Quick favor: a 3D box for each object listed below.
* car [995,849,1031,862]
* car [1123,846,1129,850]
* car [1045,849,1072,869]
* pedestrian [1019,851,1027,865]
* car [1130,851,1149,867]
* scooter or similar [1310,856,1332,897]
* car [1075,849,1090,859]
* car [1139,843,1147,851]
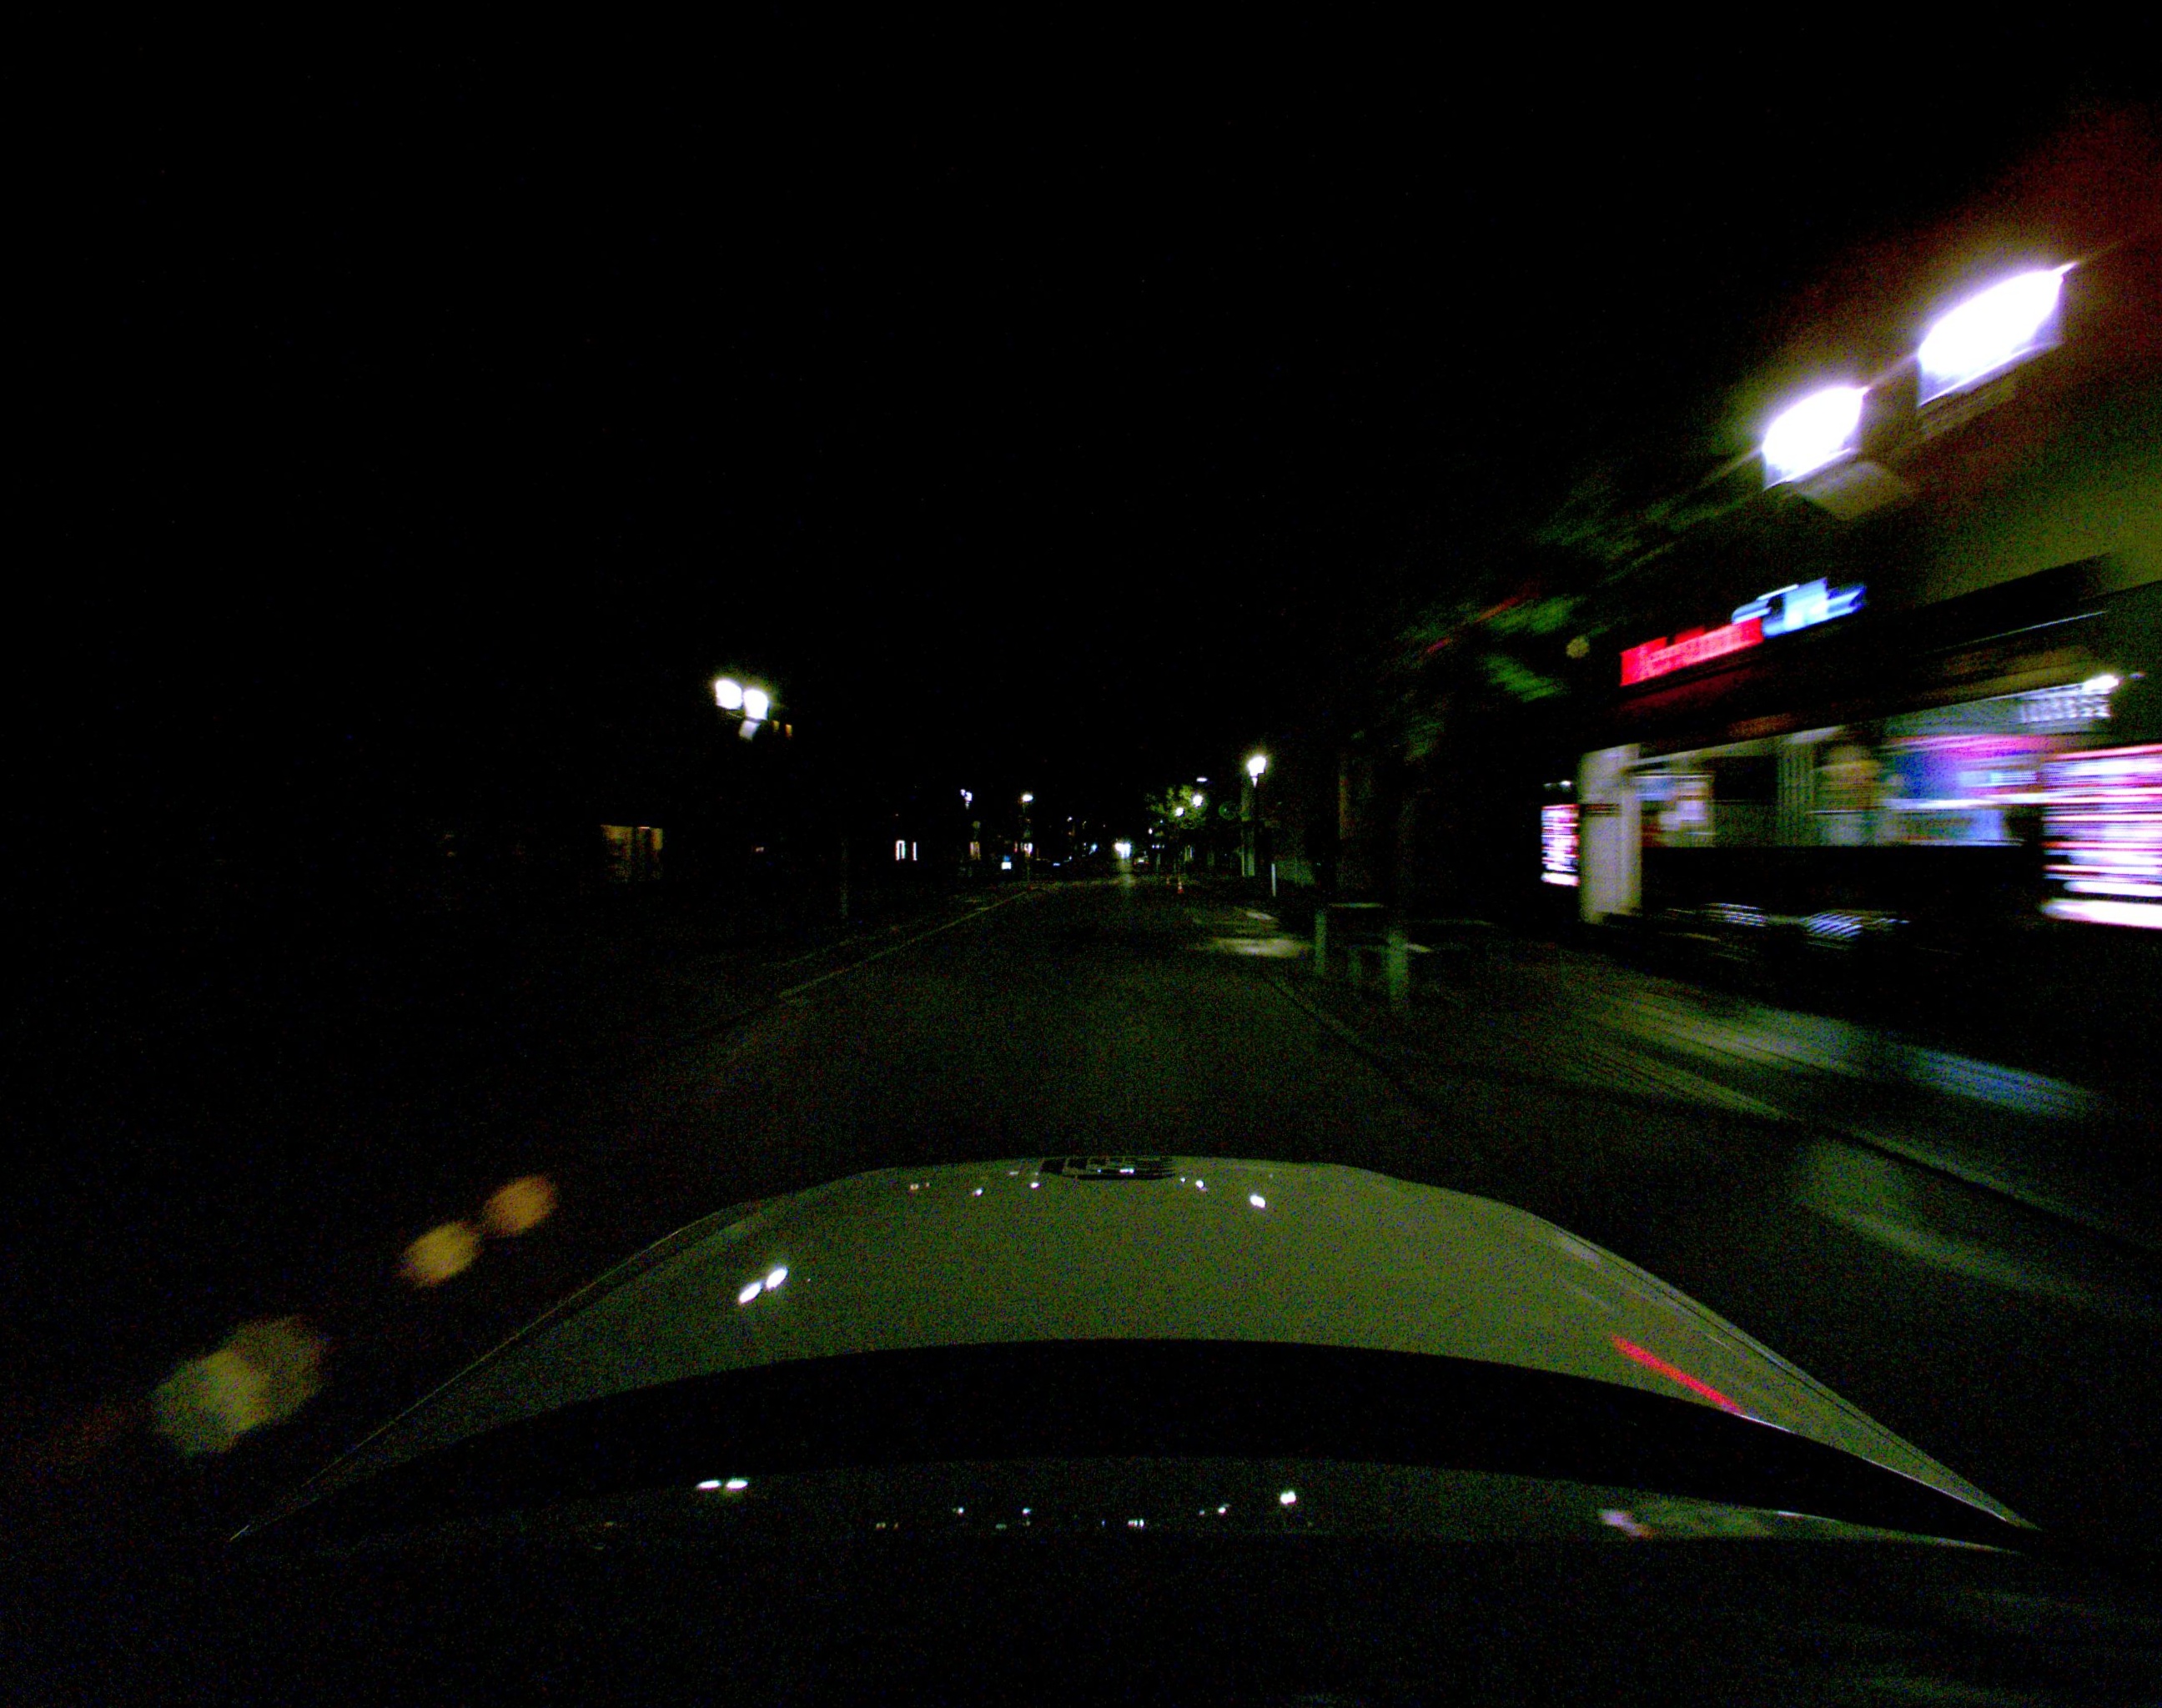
[{"bbox_3d":[-8.767,0.190,105.082,4.146,1.438,1.844,-4,0,6],"label":"car"},{"bbox_3d":[12.439,-1.635,225.373,1.715,1.246,4.242,-1,1,4],"label":"car"},{"bbox_3d":[-2.007,0.444,74.606,2.009,1.691,5.007,1,1,3],"label":"car"},{"bbox_3d":[-6.715,0.474,94.457,0.766,1.656,0.818,-1,2,4],"label":"pedestrian"},{"bbox_3d":[5.717,0.494,79.935,1.669,1.459,3.676,-1,0,1],"label":"car"},{"bbox_3d":[7.660,0.710,25.994,0.371,1.277,1.306,-1,-1,4],"label":"scooter or similar"},{"bbox_3d":[0.227,-0.016,128.600,1.905,1.370,4.463,-1,1,5],"label":"car"},{"bbox_3d":[13.893,-1.611,181.666,1.767,1.652,4.369,-1,1,4],"label":"car"}]
